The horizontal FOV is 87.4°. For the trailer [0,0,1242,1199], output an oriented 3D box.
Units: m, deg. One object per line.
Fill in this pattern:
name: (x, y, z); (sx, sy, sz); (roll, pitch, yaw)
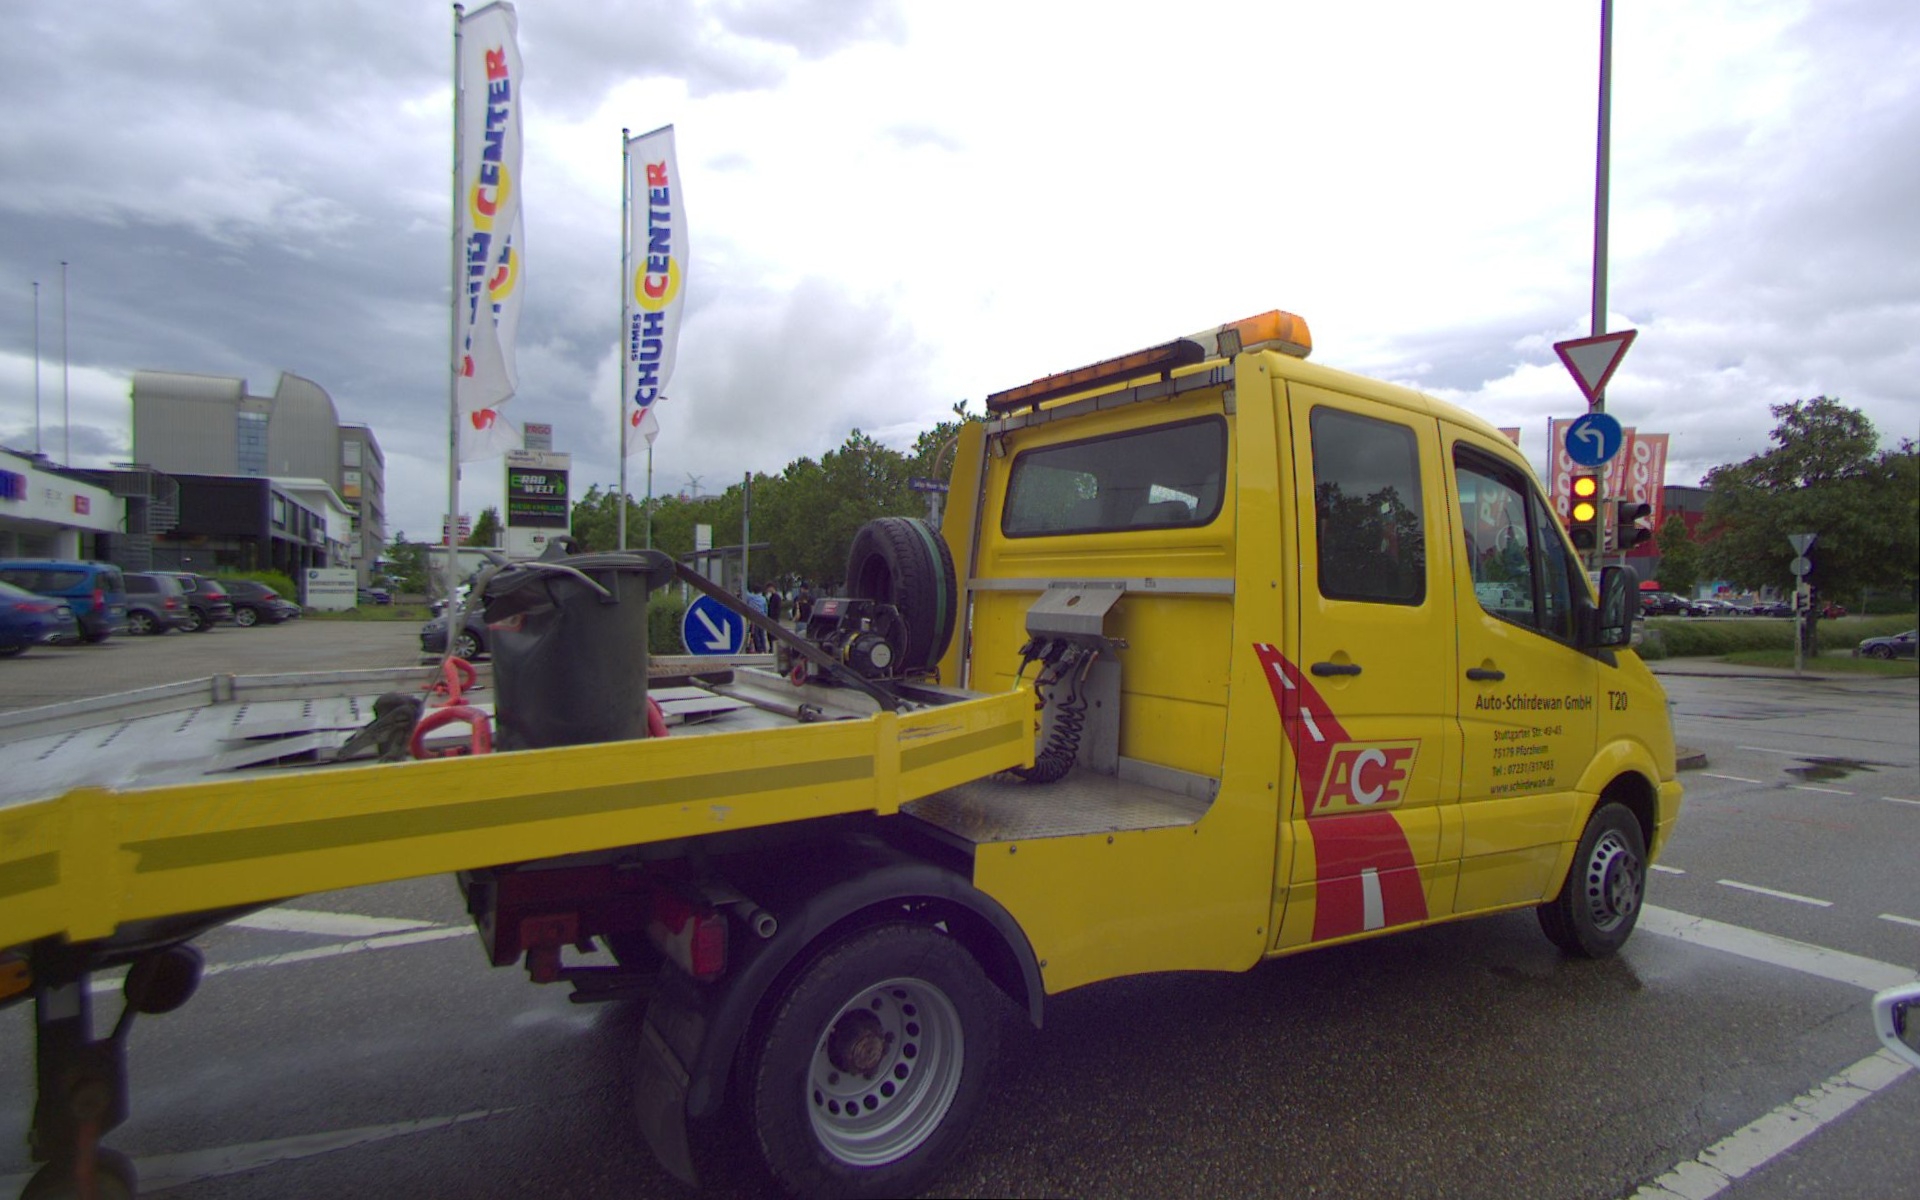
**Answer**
trailer: (-3.186, 0.107, 1.579); (7.884, 2.506, 2.291); (3, -2, -32)

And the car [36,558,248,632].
car: (-23.185, -0.093, 28.709); (4.319, 1.931, 1.884); (2, -1, -27)

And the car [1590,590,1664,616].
car: (44.510, 0.205, 67.088); (1.652, 1.667, 3.799); (2, -1, -28)

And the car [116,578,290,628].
car: (-25.004, 0.120, 33.391); (4.319, 1.518, 1.884); (2, -1, -27)

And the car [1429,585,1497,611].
car: (33.371, -0.132, 66.733); (1.652, 1.667, 3.799); (2, -1, -28)

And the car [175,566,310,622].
car: (-28.126, -0.197, 39.529); (3.944, 2.040, 1.900); (2, -1, -24)

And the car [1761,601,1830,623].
car: (65.471, 0.899, 78.736); (1.652, 1.667, 3.799); (2, -1, -28)

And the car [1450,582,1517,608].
car: (35.705, -0.332, 68.570); (1.612, 1.667, 3.799); (2, -1, -28)

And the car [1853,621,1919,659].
car: (41.225, 1.722, 43.446); (1.669, 1.573, 3.624); (2, -1, -36)

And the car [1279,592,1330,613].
car: (28.307, 0.186, 82.584); (1.652, 1.667, 3.934); (2, -1, -28)

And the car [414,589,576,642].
car: (-13.359, 0.460, 28.962); (4.074, 1.412, 1.886); (2, -1, -27)

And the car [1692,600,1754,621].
car: (63.241, 0.851, 83.315); (1.652, 1.667, 3.799); (2, -1, -28)

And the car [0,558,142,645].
car: (-20.509, 0.013, 21.467); (4.319, 1.787, 1.884); (2, -1, -27)

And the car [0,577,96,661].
car: (-17.688, 0.277, 16.974); (4.319, 1.412, 1.811); (2, -1, -27)

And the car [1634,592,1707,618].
car: (48.956, 0.351, 69.246); (1.652, 1.667, 3.799); (2, -1, -28)

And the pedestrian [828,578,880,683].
pedestrian: (-2.119, 0.613, 20.165); (0.683, 2.040, 0.816); (2, -1, 20)

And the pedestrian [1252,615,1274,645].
pedestrian: (14.908, 1.466, 49.418); (0.773, 1.450, 0.635); (3, -1, -33)

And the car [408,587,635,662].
car: (-8.902, 0.510, 20.655); (4.069, 1.412, 1.813); (2, -1, -24)

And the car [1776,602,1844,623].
car: (67.815, 0.977, 80.184); (1.652, 1.667, 3.799); (2, -1, -28)

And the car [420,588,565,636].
car: (-14.904, 0.397, 32.145); (4.074, 1.412, 1.811); (2, -1, -27)

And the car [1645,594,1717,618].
car: (51.000, 0.423, 71.097); (1.652, 1.667, 3.799); (2, -1, -28)

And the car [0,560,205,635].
car: (-22.518, -0.029, 26.105); (4.319, 1.787, 1.884); (2, -1, -27)

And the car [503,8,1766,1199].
car: (0.982, 0.220, 4.194); (4.960, 2.506, 2.227); (3, -2, -32)

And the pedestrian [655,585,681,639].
pedestrian: (-9.589, 0.410, 32.947); (0.692, 1.733, 0.693); (2, -1, -26)

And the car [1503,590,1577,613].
car: (37.507, 0.091, 65.084); (1.652, 1.399, 3.881); (2, -1, -28)
